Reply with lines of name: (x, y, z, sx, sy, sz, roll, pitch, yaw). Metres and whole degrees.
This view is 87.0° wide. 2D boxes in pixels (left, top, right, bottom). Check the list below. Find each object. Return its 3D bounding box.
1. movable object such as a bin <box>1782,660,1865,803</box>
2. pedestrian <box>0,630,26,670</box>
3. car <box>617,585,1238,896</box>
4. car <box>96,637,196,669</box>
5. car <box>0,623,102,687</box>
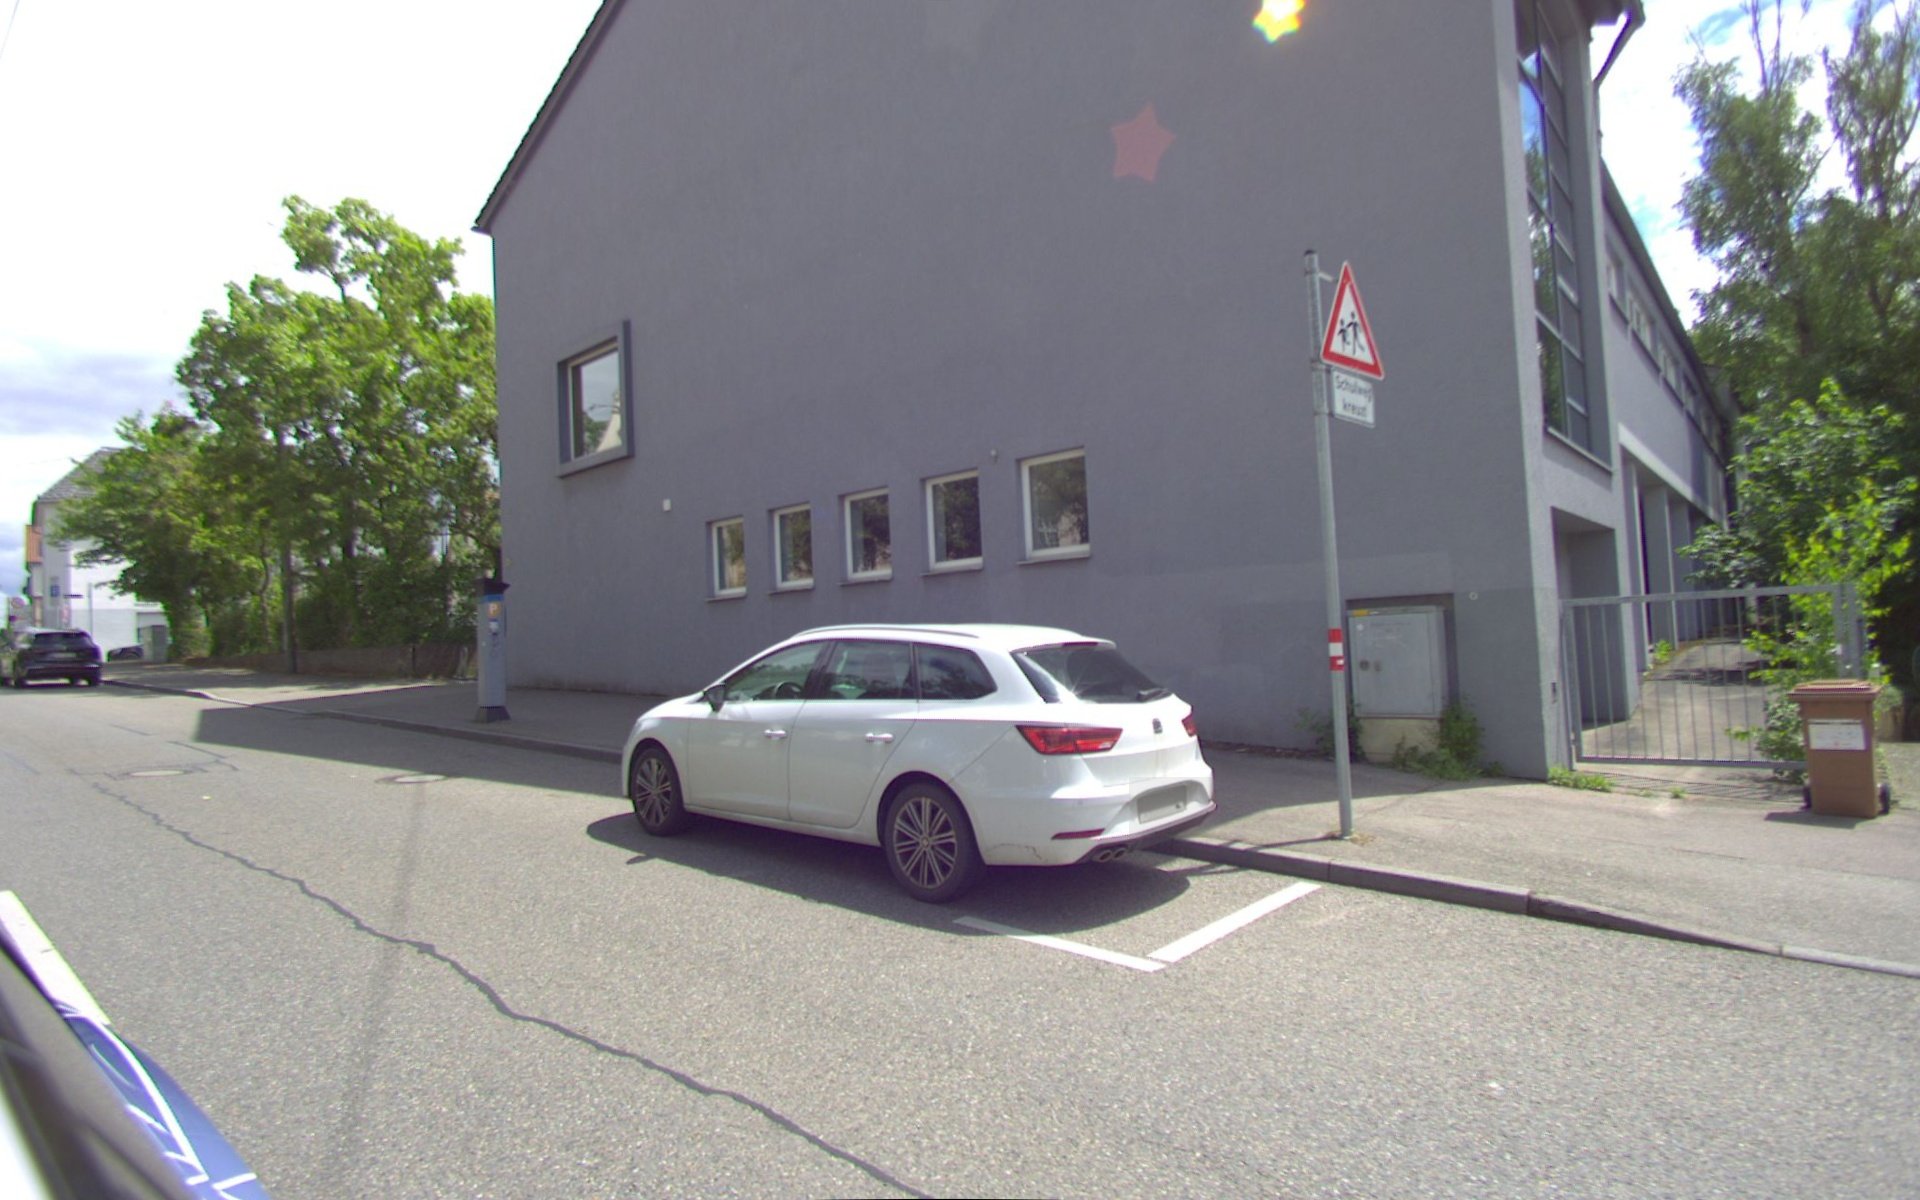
movable object such as a bin: (5.979, 0.889, 7.018, 0.399, 0.936, 0.449, -2, -3, 40)
pedestrian: (-39.082, 2.035, 41.587, 0.663, 1.609, 0.771, -2, -1, 5)
car: (-0.415, 0.726, 6.501, 3.864, 1.401, 1.679, -4, -2, 41)
car: (-43.935, 2.872, 54.685, 1.857, 1.488, 3.946, -6, -4, 41)
car: (-25.707, 1.548, 28.326, 4.640, 1.622, 1.778, -3, -2, 39)
